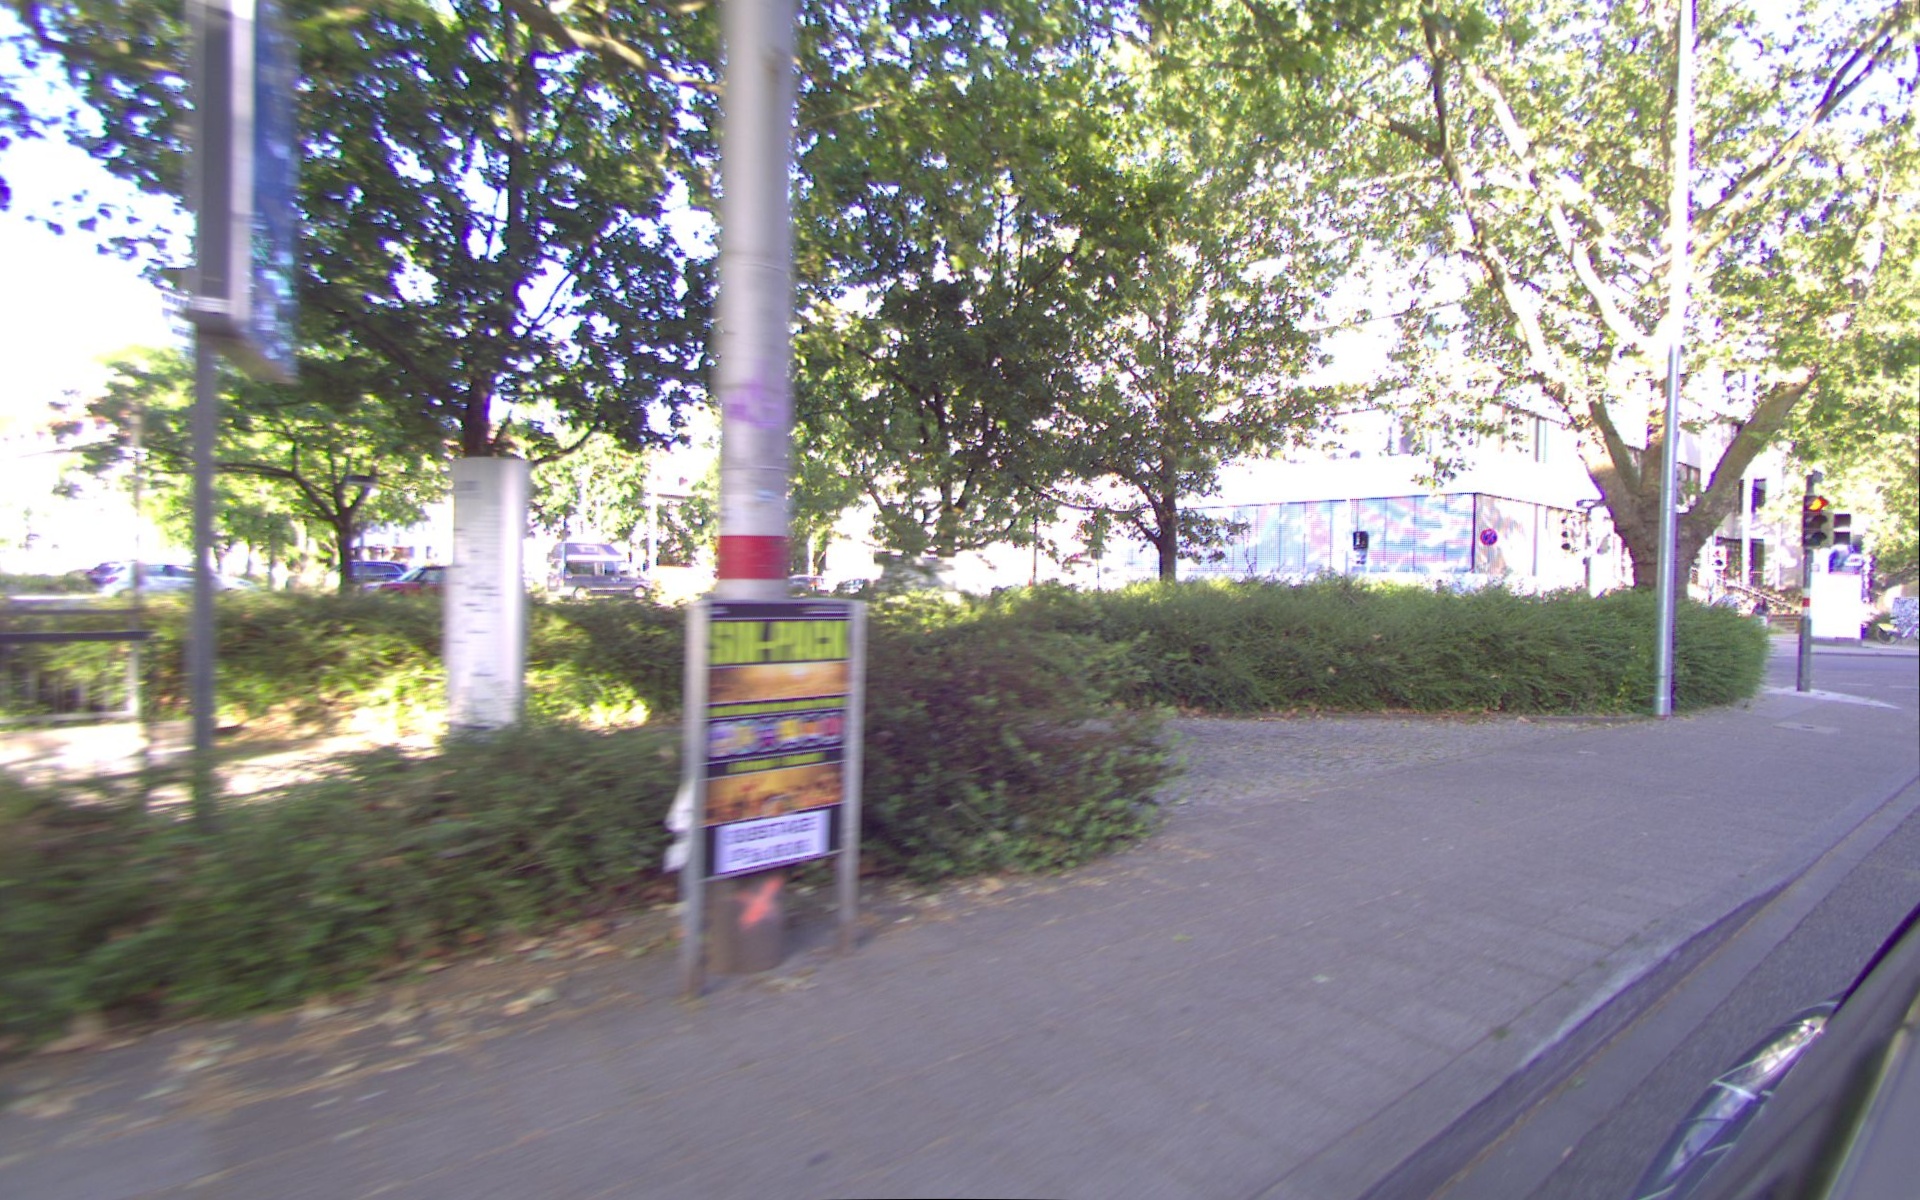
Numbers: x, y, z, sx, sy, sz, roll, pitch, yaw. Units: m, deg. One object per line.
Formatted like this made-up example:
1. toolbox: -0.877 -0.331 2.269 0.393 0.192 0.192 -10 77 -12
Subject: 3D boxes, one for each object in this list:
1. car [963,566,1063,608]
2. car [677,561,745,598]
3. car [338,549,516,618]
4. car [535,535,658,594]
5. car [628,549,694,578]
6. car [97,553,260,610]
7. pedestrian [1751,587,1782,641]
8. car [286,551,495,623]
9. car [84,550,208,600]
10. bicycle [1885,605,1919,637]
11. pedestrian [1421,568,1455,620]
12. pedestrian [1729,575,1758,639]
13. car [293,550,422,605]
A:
1. car: 2.490 -0.645 48.725 2.073 1.851 4.711 0 1 -42
2. car: -19.504 -1.574 79.570 1.988 2.651 5.053 4 2 35
3. car: -15.351 -0.453 29.272 4.237 1.834 1.785 1 1 -42
4. car: -17.115 -1.639 47.827 5.071 2.605 1.996 0 1 -42
5. car: -20.803 -2.521 70.318 4.892 1.808 2.060 4 3 40
6. car: -24.388 -0.540 31.662 3.929 1.647 1.921 1 0 -40
7. pedestrian: 23.442 0.396 29.415 0.670 1.543 0.553 1 0 38
8. car: -14.072 -0.307 25.157 4.237 1.621 1.785 1 1 -42
9. car: -34.348 -1.002 42.745 3.975 1.971 1.921 1 -1 -42
10. bicycle: 32.426 0.722 34.128 1.619 1.011 0.617 3 4 25
11. pedestrian: 17.036 -0.223 36.063 0.982 1.793 0.602 1 3 18
12. pedestrian: 23.110 0.199 29.857 0.600 1.862 0.563 1 0 34
13. car: -24.504 -0.884 41.257 4.237 2.115 1.785 1 1 -42
